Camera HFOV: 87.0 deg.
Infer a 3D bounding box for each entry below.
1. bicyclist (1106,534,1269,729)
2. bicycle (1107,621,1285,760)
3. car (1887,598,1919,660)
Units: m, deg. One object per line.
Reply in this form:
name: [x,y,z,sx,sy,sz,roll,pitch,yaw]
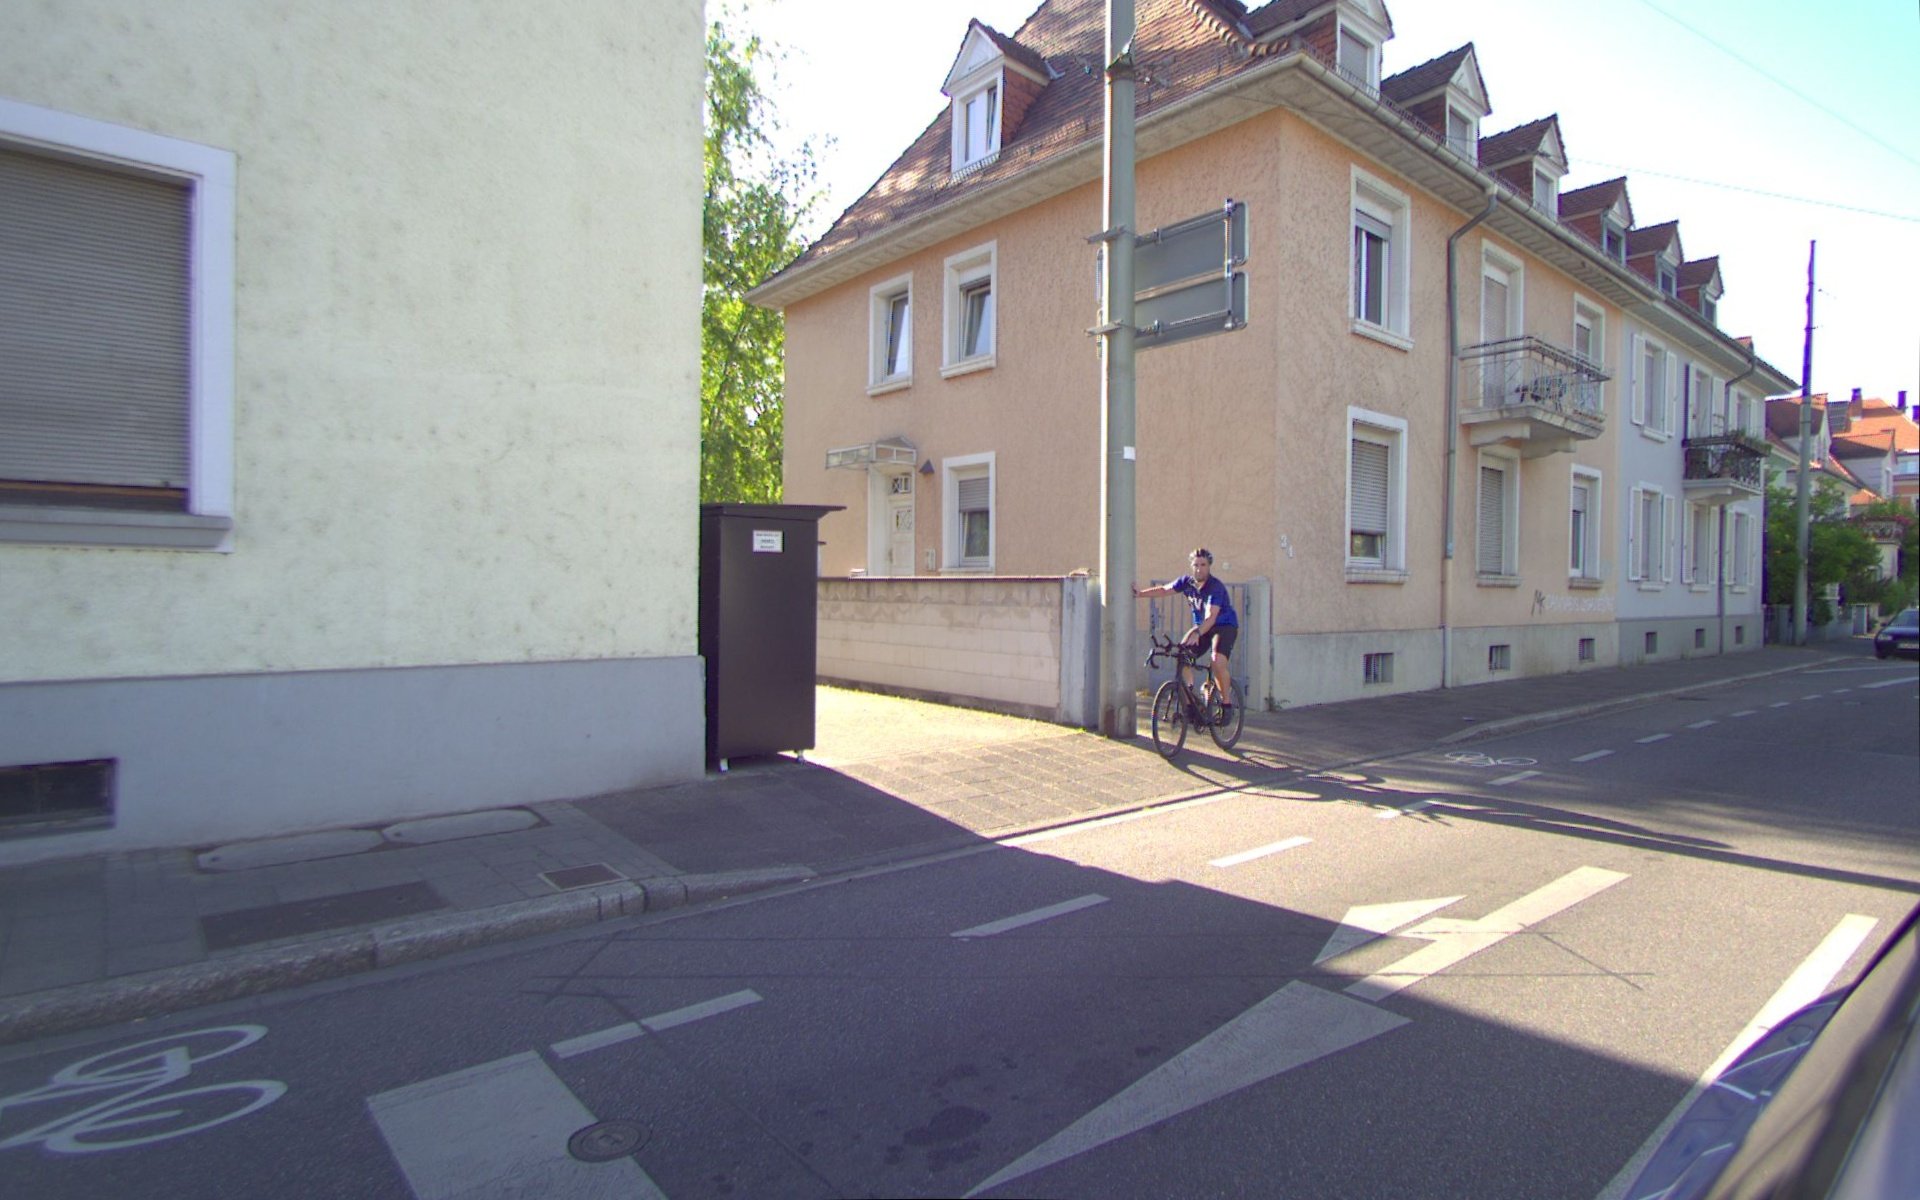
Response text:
bicyclist: [2.103,0.255,9.405,0.870,1.627,1.052,1,5,-41]
bicycle: [2.181,0.771,9.236,1.744,1.081,0.592,0,5,-41]
car: [26.701,0.750,27.360,3.742,1.601,1.696,0,-1,-36]
